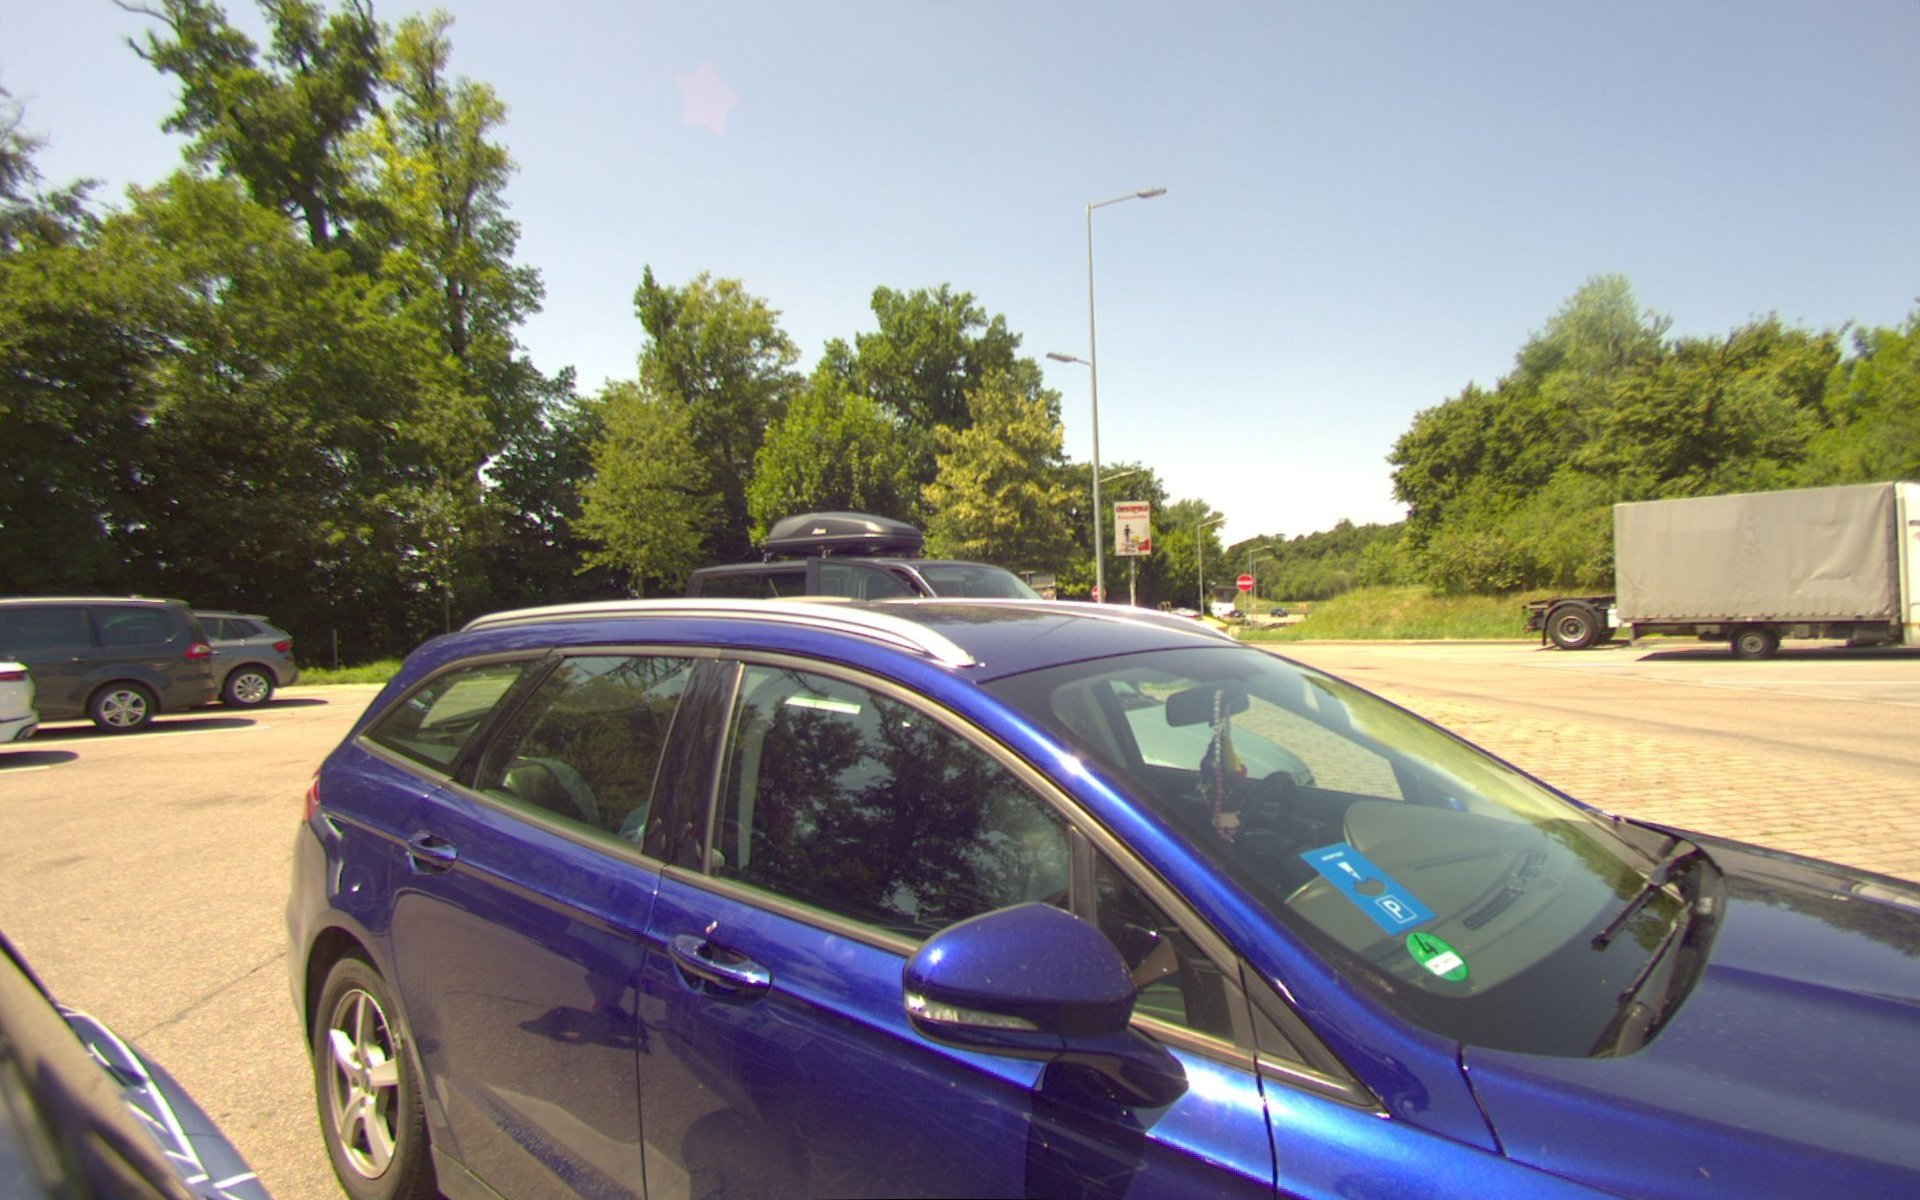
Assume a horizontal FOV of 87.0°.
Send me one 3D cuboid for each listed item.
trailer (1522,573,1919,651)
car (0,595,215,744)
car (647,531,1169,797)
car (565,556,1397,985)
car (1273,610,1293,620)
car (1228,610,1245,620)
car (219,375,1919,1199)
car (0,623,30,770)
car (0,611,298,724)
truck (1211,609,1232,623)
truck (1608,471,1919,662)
[{"bbox_3d":[17.650,0.311,23.147,8.088,1.385,2.200,-4,-1,41],"label":"trailer"},{"bbox_3d":[-11.641,0.824,12.616,3.762,1.737,1.724,0,-1,-38],"label":"car"},{"bbox_3d":[-0.645,0.511,9.352,4.635,1.884,1.937,-2,0,37],"label":"car"},{"bbox_3d":[-0.201,0.673,5.778,4.637,1.545,1.720,-2,0,39],"label":"car"},{"bbox_3d":[52.937,2.461,165.735,1.726,1.680,4.003,-1,0,-4],"label":"car"},{"bbox_3d":[47.871,2.526,175.198,1.726,1.680,4.003,-1,0,-4],"label":"car"},{"bbox_3d":[0.261,0.635,2.066,4.637,1.493,1.720,-2,-1,39],"label":"car"},{"bbox_3d":[-10.982,0.934,9.152,3.767,1.396,1.722,0,-1,-43],"label":"car"},{"bbox_3d":[-12.579,0.957,15.696,3.762,1.551,1.724,0,-1,-38],"label":"car"},{"bbox_3d":[47.149,2.825,182.681,2.077,2.461,5.573,-1,0,-4],"label":"truck"},{"bbox_3d":[16.722,-0.601,18.925,7.337,3.235,2.502,-4,-1,41],"label":"truck"}]
